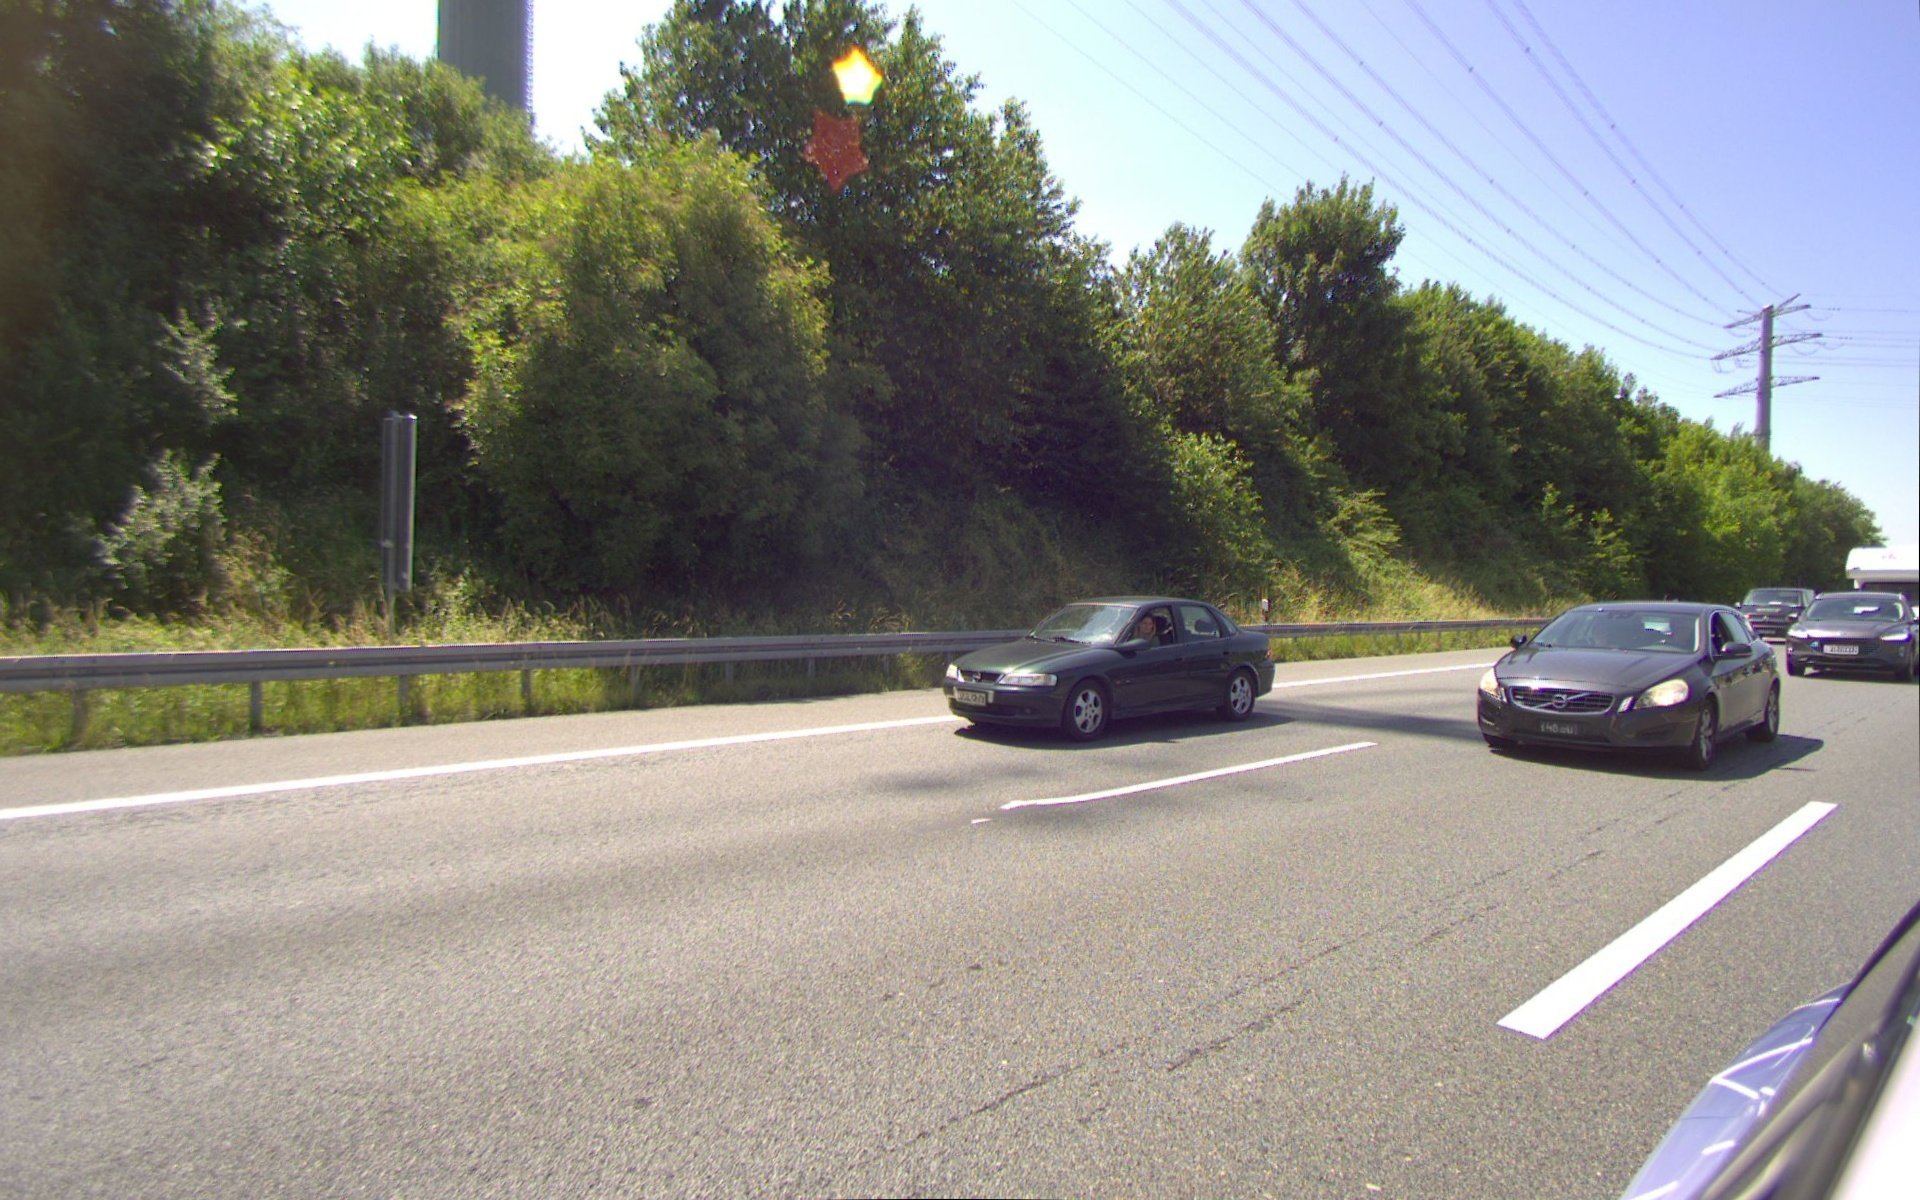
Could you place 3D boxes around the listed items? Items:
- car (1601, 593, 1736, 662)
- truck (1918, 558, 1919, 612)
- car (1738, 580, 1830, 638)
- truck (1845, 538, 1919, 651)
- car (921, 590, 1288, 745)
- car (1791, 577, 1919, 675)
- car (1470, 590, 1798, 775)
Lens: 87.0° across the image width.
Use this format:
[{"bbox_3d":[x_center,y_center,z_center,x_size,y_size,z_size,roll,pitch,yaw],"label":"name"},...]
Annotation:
[{"bbox_3d":[16.918,0.589,24.099,3.944,1.488,1.744,0,0,-41],"label":"car"},{"bbox_3d":[67.597,-1.042,69.369,9.040,3.623,2.405,-1,0,-44],"label":"truck"},{"bbox_3d":[29.249,0.273,35.867,4.617,1.928,1.787,-1,0,-41],"label":"car"},{"bbox_3d":[29.463,-0.202,30.704,9.723,3.053,2.513,-1,0,-40],"label":"truck"},{"bbox_3d":[1.747,0.603,11.304,4.227,1.395,1.737,-1,0,-41],"label":"car"},{"bbox_3d":[17.917,0.439,19.879,4.309,1.724,1.889,-1,0,-43],"label":"car"},{"bbox_3d":[6.835,0.635,10.083,4.159,1.455,1.798,-1,1,-43],"label":"car"}]
